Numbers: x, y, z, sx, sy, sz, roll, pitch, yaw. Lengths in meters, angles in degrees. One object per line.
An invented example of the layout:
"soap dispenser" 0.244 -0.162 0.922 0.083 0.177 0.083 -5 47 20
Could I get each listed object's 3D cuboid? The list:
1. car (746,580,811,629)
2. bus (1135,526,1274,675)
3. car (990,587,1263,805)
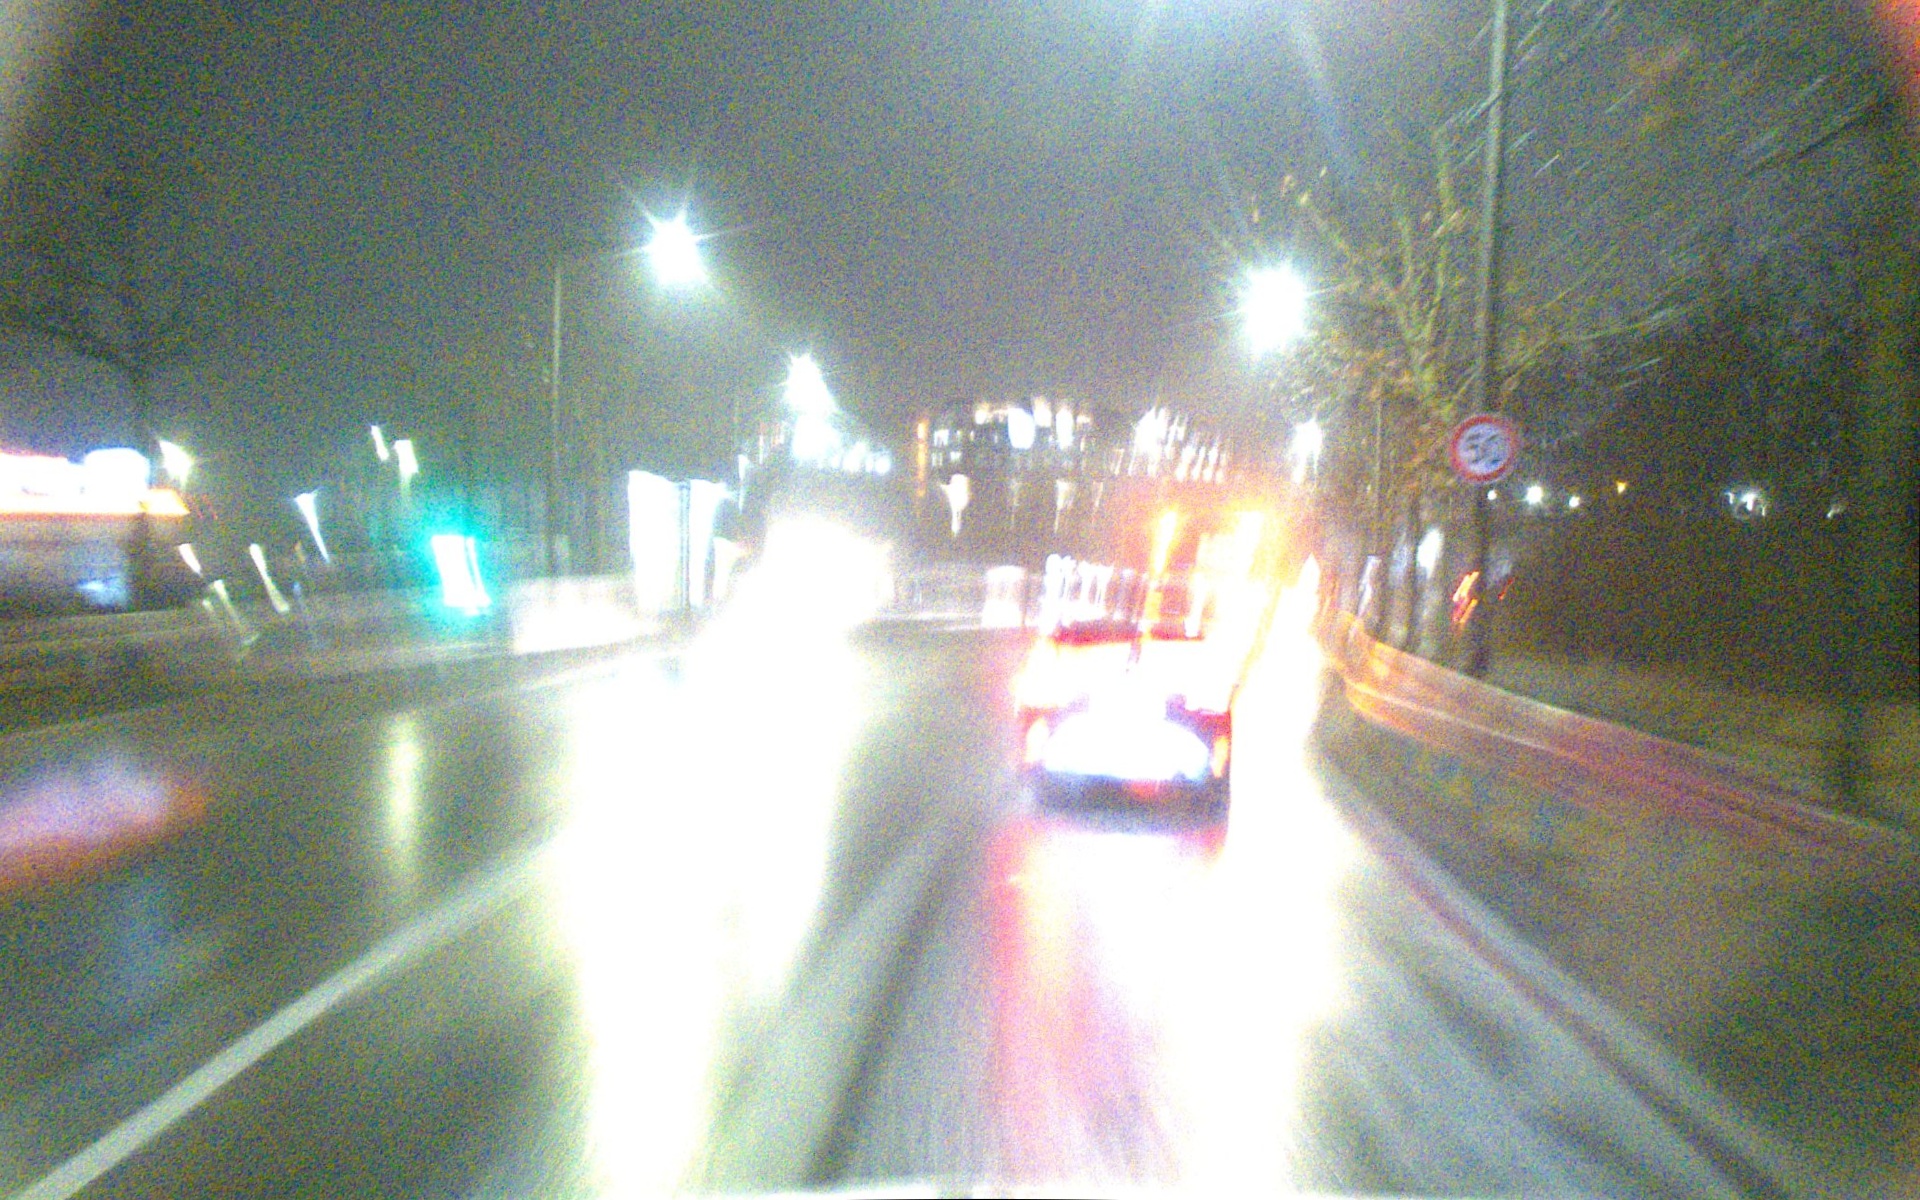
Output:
"car" -6.118 0.141 55.990 1.789 1.530 4.187 1 0 -1
"bus" 6.283 0.056 41.305 2.978 3.269 9.058 -1 -1 11
"car" 1.362 0.696 13.866 1.951 1.551 4.002 0 0 5
